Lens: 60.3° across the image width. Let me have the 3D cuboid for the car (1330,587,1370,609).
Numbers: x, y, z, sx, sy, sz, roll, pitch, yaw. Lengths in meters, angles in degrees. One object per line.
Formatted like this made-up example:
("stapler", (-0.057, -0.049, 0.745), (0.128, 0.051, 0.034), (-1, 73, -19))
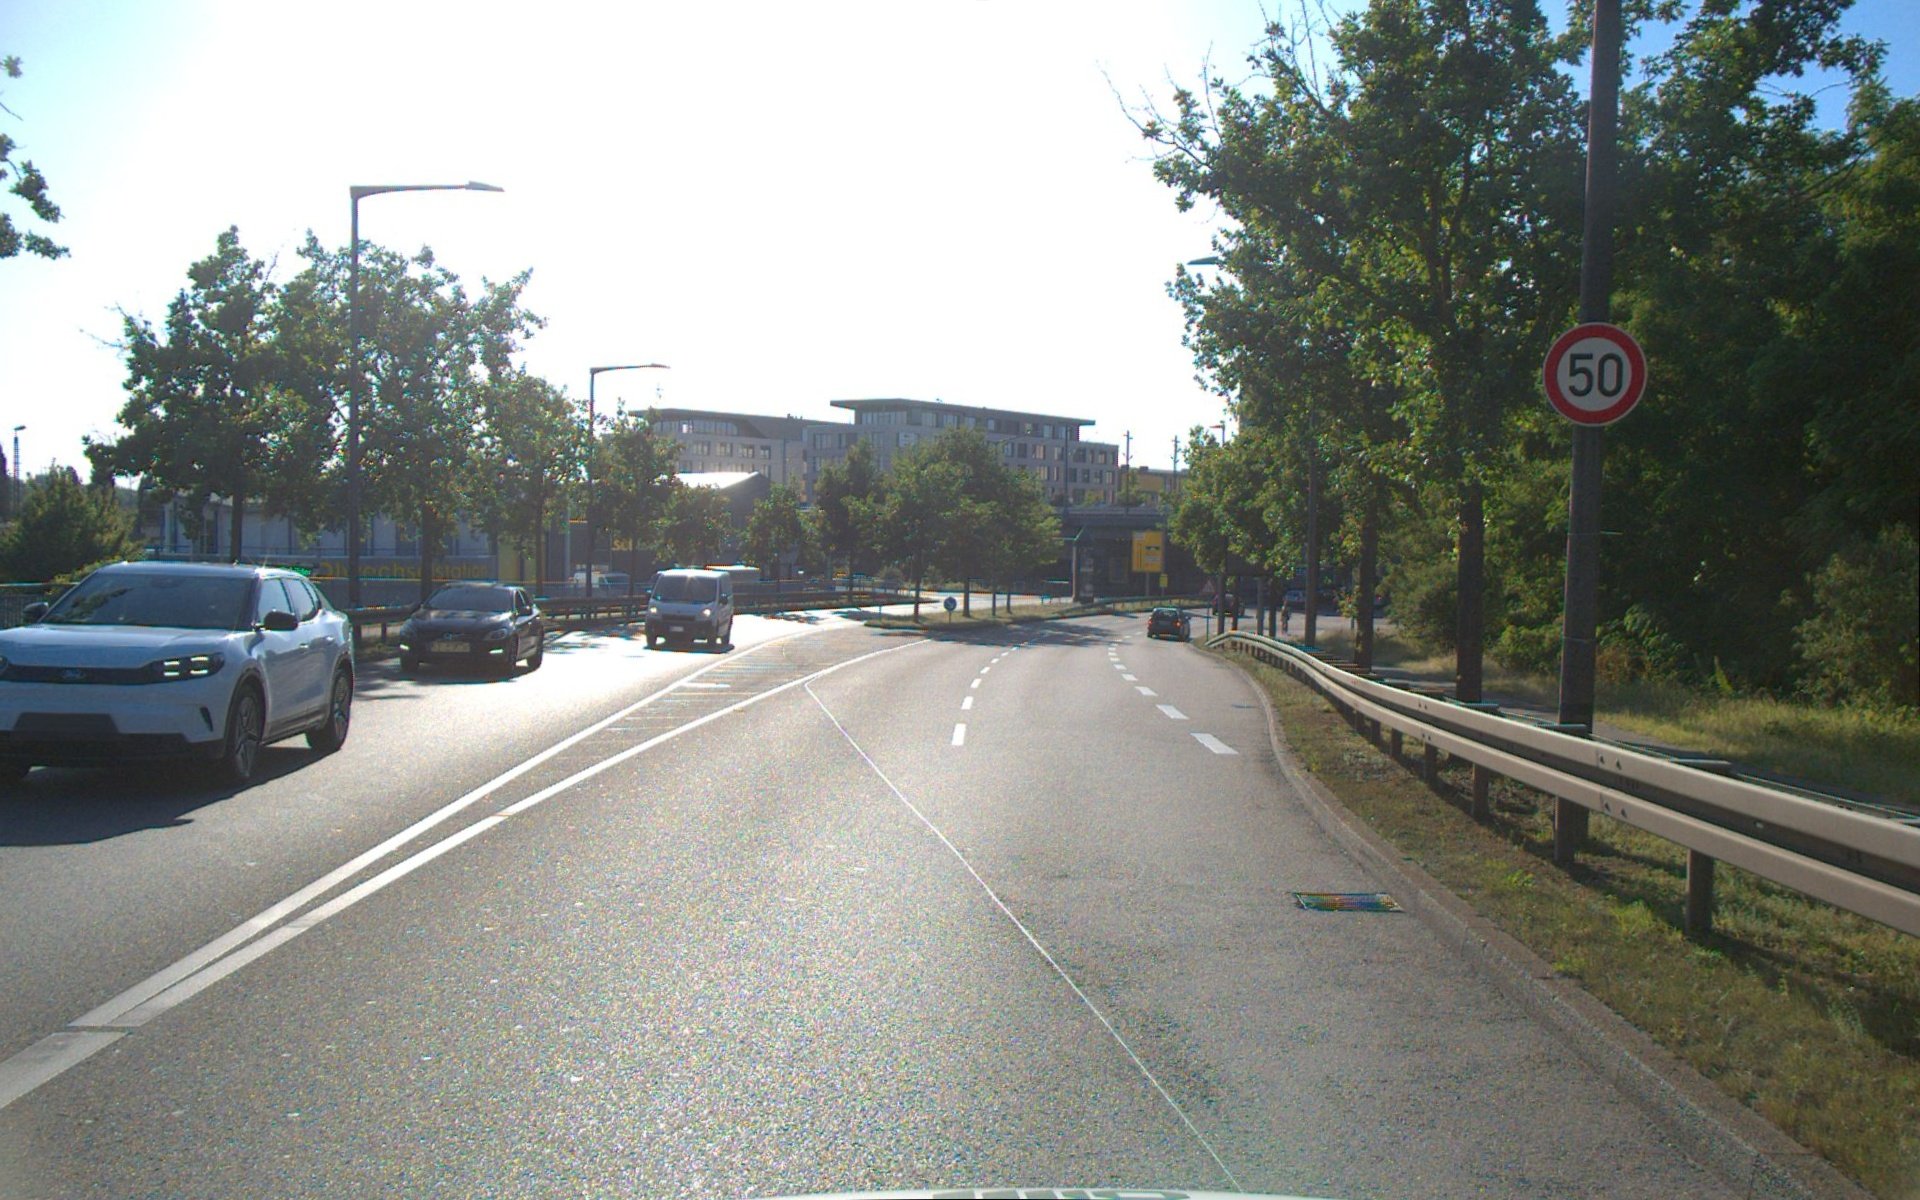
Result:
("car", (30.750, -0.156, 130.381), (1.709, 1.479, 4.595), (3, 4, 32))

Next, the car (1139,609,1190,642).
("car", (10.004, 1.216, 80.661), (1.951, 1.534, 4.003), (-1, 0, 15))

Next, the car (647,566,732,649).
("car", (-7.123, 0.190, 43.924), (1.841, 2.049, 5.254), (0, 0, -5))

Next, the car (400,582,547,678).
("car", (-8.245, 0.466, 28.370), (1.739, 1.491, 4.376), (1, 0, -8))

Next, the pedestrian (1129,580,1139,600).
("pedestrian", (16.731, -0.948, 159.087), (0.682, 1.936, 0.662), (3, 2, 37))

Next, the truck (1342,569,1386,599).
("truck", (37.171, -1.467, 152.189), (1.994, 2.601, 5.518), (3, 2, 35))

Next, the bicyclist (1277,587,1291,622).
("bicyclist", (18.116, 0.236, 92.489), (0.667, 1.940, 0.834), (2, 1, 9))

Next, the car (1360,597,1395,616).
("car", (34.450, 0.539, 136.425), (1.740, 1.521, 3.824), (1, 1, 31))

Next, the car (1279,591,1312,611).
("car", (26.382, 0.084, 129.899), (1.518, 1.448, 3.410), (-1, 1, 31))

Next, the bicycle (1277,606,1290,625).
("bicycle", (18.082, 0.875, 92.499), (0.566, 0.980, 2.889), (2, 1, 9))

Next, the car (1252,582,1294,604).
("car", (25.510, -0.576, 134.782), (1.797, 1.768, 4.450), (2, 1, 32))

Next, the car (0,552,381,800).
("car", (-6.165, 0.522, 13.385), (1.793, 1.617, 4.641), (2, -1, -7))

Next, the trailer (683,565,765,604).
("trailer", (-13.145, -0.871, 92.532), (2.368, 2.004, 6.612), (2, 1, 12))

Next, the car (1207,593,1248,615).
("car", (18.780, 0.251, 115.995), (1.553, 1.433, 3.824), (3, 2, 30))

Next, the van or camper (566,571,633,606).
("van or camper", (-21.851, -0.709, 100.115), (4.157, 1.959, 1.986), (2, 0, 44))

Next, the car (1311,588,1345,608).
("car", (32.550, -0.208, 146.178), (1.806, 1.749, 3.993), (-1, 0, 29))
